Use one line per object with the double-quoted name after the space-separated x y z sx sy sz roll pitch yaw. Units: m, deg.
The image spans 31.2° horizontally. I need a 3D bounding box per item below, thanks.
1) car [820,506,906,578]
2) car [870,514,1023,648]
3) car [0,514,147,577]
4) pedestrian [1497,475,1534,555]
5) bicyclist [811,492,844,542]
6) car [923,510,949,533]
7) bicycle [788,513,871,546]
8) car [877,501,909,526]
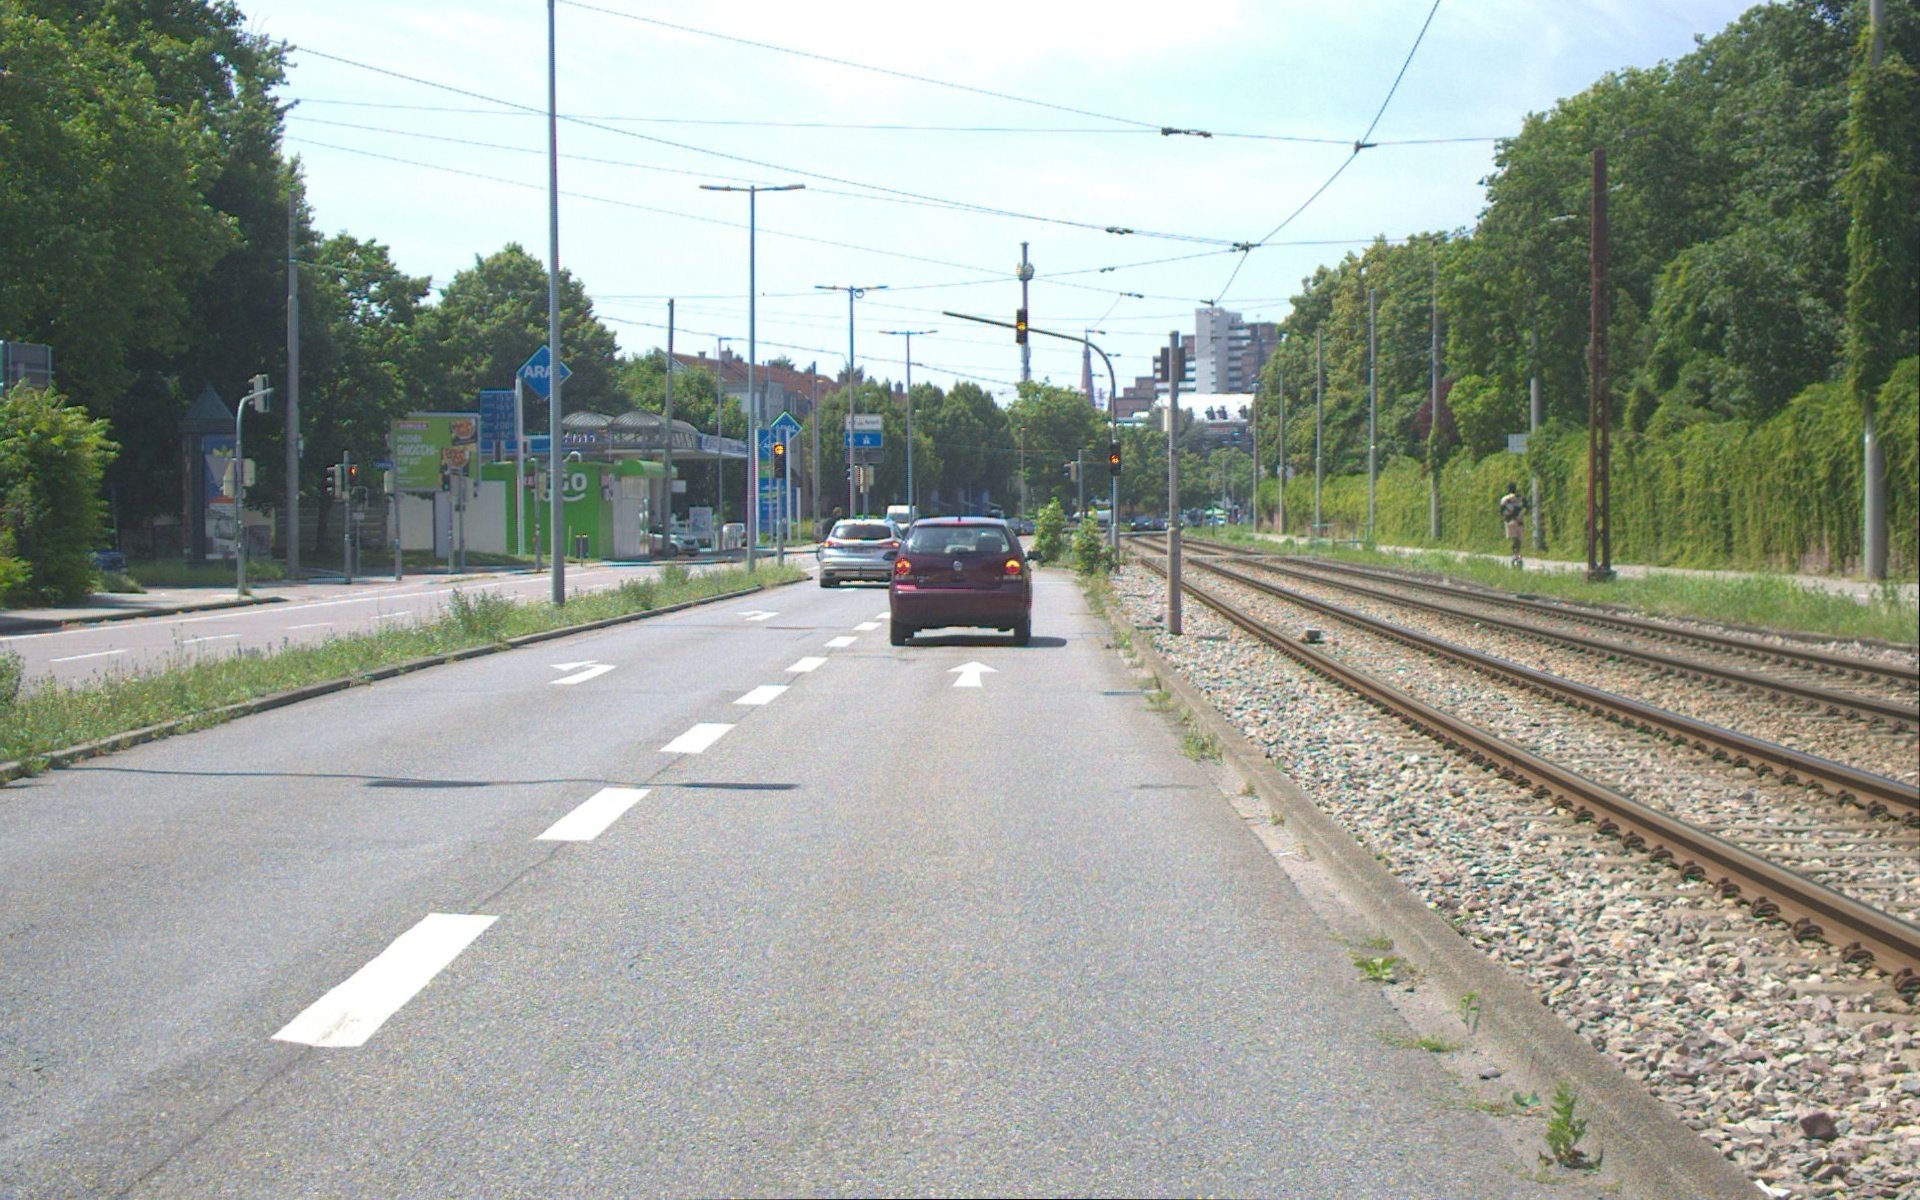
-2.102 -1.241 73.527 1.702 1.475 3.717 1 1 -3 "car"
-0.151 -0.265 40.626 1.703 1.472 3.717 1 2 0 "car"
-23.575 -1.420 90.120 3.989 1.574 1.771 -1 2 13 "car"
12.201 -1.871 75.538 0.661 1.720 0.816 -1 2 1 "pedestrian"
-4.281 -2.681 111.137 0.944 1.588 1.088 1 1 -9 "bicyclist"
-1.808 -5.933 260.602 1.748 1.680 4.000 -1 2 3 "car"
-4.234 -2.270 111.124 2.549 1.034 1.088 1 1 -9 "bicycle"
-4.529 -5.848 232.164 1.993 1.590 4.001 1 1 -3 "car"
